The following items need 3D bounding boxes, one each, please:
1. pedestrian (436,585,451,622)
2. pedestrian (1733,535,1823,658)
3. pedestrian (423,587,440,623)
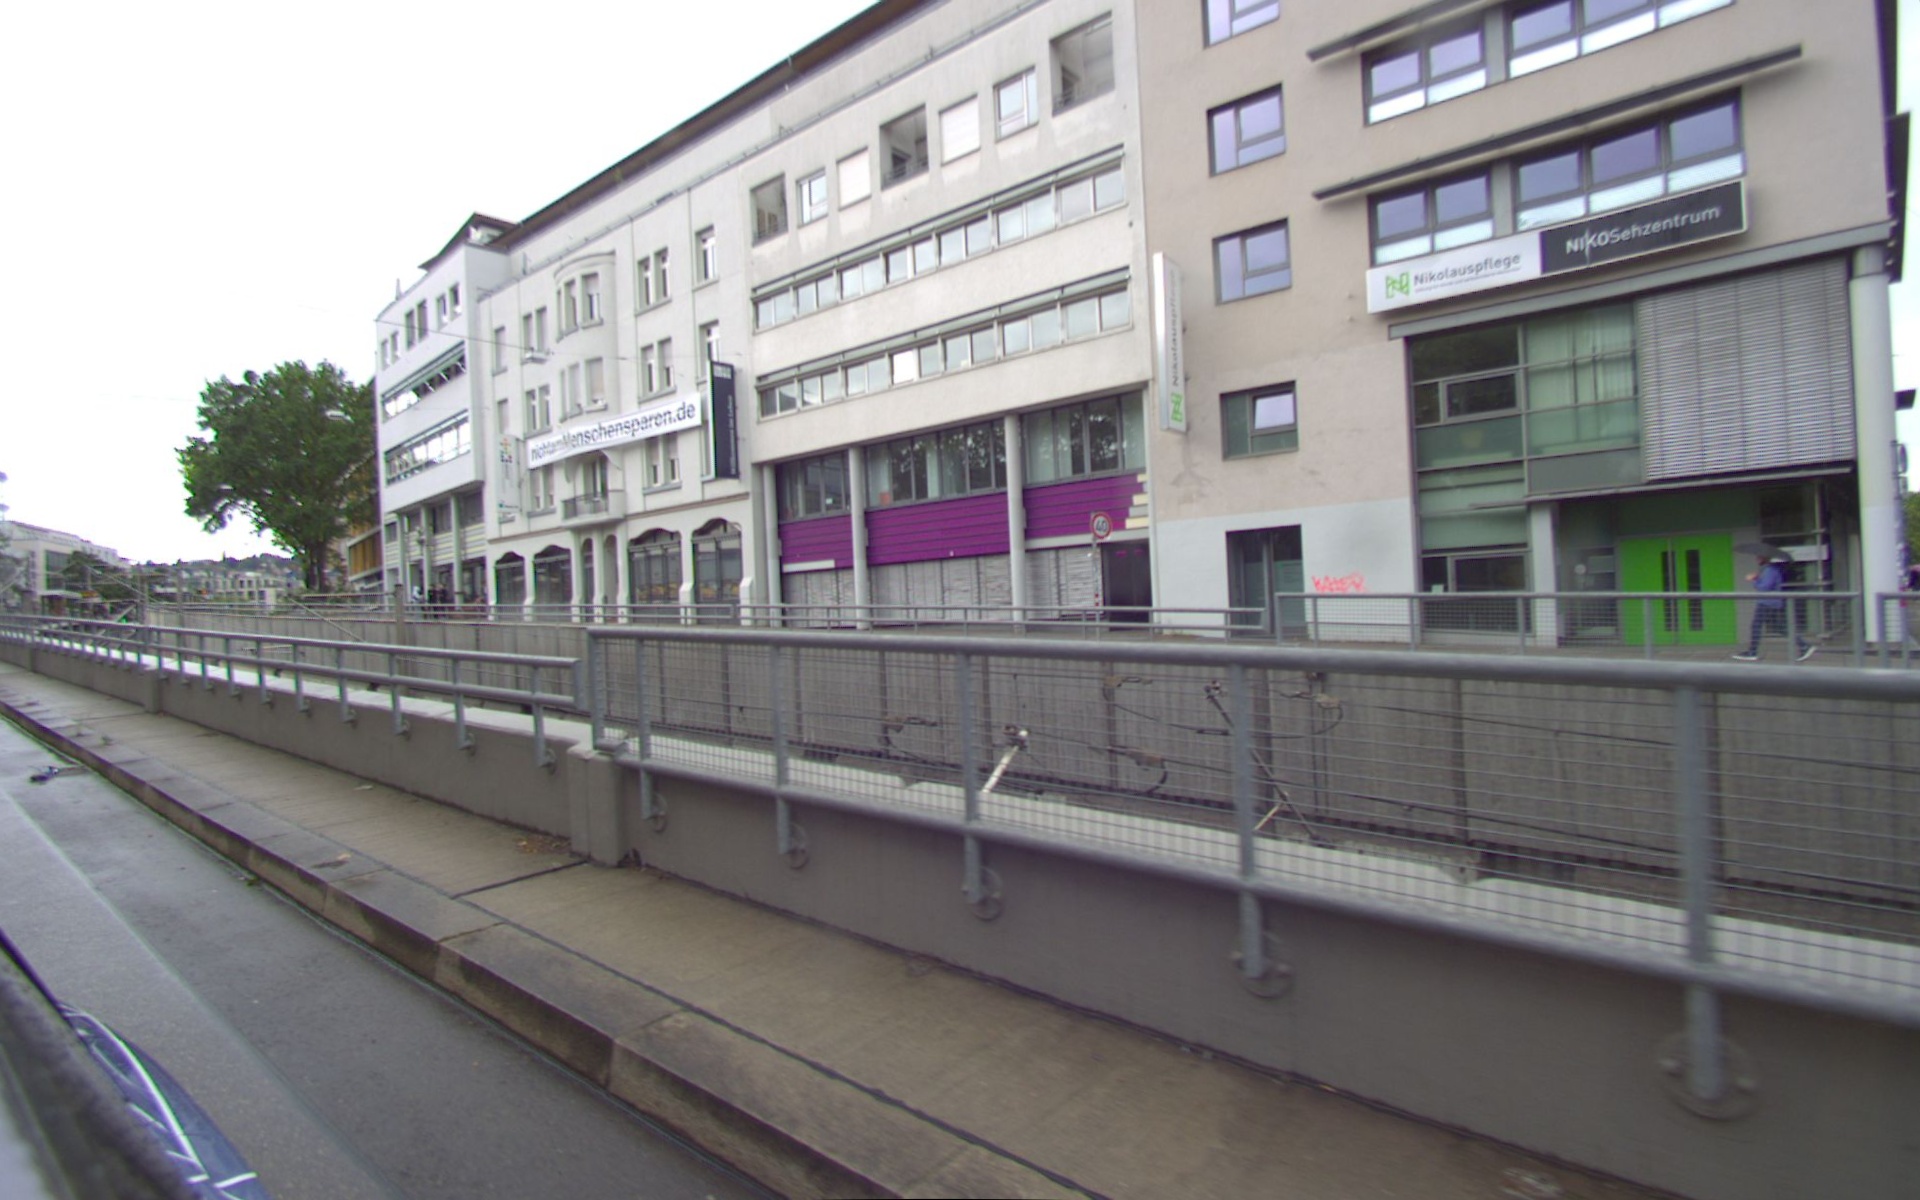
[{"bbox_3d":[-26.047,0.181,51.057,0.547,1.816,0.463,-1,1,44],"label":"pedestrian"},{"bbox_3d":[12.839,-0.055,15.887,1.059,1.852,0.848,-1,1,41],"label":"pedestrian"},{"bbox_3d":[-27.062,0.271,51.806,0.469,1.816,0.541,-1,1,33],"label":"pedestrian"}]
